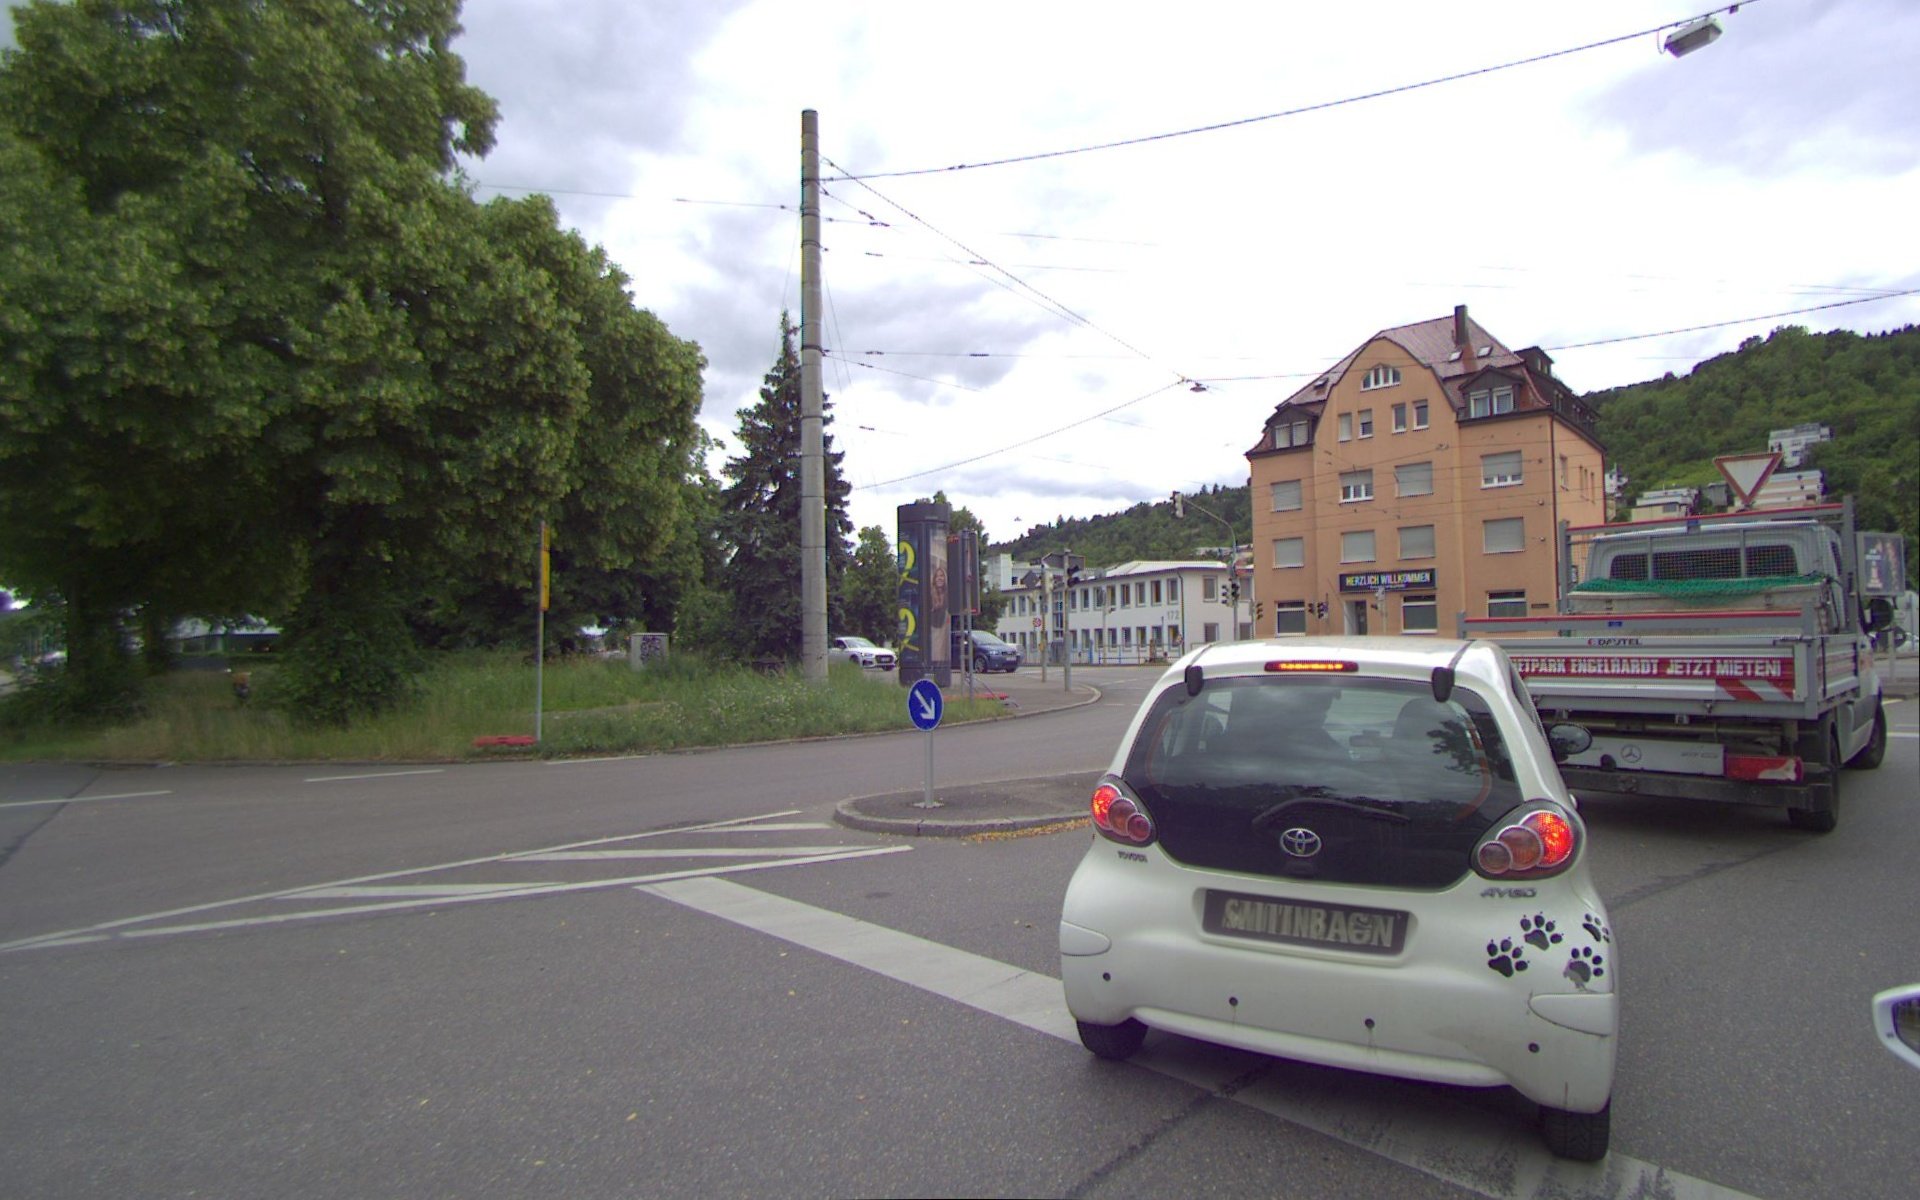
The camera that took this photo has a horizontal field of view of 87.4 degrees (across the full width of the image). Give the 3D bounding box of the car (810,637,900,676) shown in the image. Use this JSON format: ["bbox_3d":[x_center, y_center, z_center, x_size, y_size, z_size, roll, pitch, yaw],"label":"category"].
[{"bbox_3d":[-4.366,2.323,41.389,1.734,1.445,4.120,0,-2,-39],"label":"car"}]

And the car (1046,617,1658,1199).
[{"bbox_3d":[1.778,0.825,4.288,1.569,1.439,3.368,2,0,29],"label":"car"}]

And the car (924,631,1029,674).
[{"bbox_3d":[0.550,1.871,35.979,1.736,1.410,3.659,0,-3,-41],"label":"car"}]

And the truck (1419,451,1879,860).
[{"bbox_3d":[6.332,0.357,8.850,5.617,2.453,2.291,-1,-2,-45],"label":"truck"}]
